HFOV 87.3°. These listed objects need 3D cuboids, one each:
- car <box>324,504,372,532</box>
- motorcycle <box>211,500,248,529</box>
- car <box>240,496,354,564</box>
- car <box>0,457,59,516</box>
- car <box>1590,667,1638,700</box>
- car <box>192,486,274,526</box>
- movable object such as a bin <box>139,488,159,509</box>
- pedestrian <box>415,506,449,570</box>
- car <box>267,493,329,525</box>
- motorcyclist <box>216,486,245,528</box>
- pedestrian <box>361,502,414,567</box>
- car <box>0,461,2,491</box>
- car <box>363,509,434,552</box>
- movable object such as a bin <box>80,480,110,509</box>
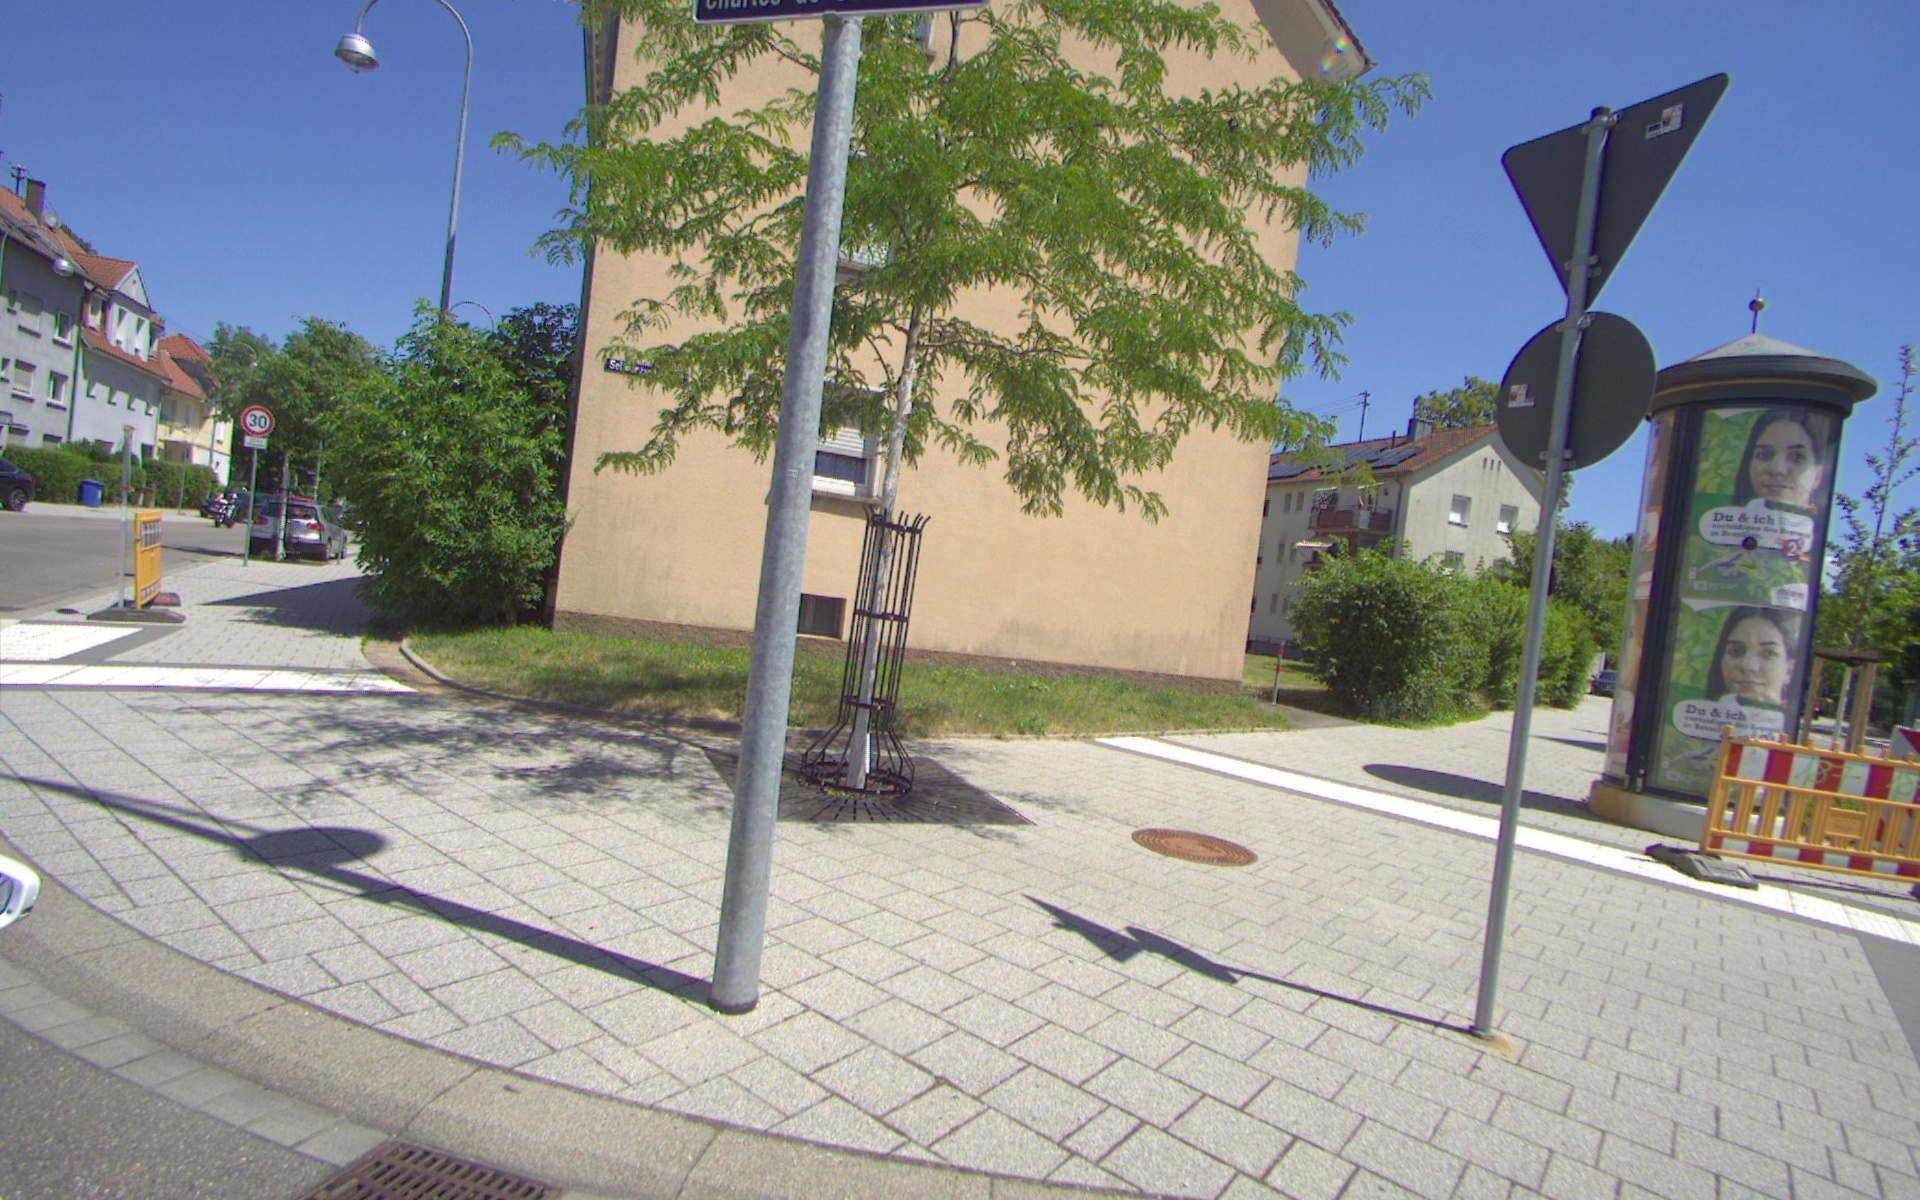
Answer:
[{"bbox_3d":[-36.473,-4.859,60.029,1.712,1.431,3.976,5,2,-22],"label":"car"},{"bbox_3d":[-29.156,-3.397,40.178,0.599,1.013,1.791,6,1,-18],"label":"motorcycle"},{"bbox_3d":[-17.866,-1.861,27.312,1.795,1.496,4.479,5,1,-24],"label":"car"},{"bbox_3d":[-29.493,-3.535,29.551,2.058,1.635,5.094,8,1,-11],"label":"car"},{"bbox_3d":[35.975,4.575,55.416,1.967,1.479,3.990,7,1,31],"label":"car"},{"bbox_3d":[-35.222,-4.538,48.880,1.768,1.477,4.180,10,1,-16],"label":"car"},{"bbox_3d":[-37.991,-4.752,47.124,0.489,0.924,0.702,6,2,-21],"label":"movable object such as a bin"},{"bbox_3d":[-16.130,-1.891,30.759,0.779,1.836,0.999,4,3,-24],"label":"pedestrian"},{"bbox_3d":[-39.640,-5.424,60.357,1.859,1.497,4.713,10,0,-20],"label":"car"},{"bbox_3d":[-29.110,-3.695,40.163,0.594,1.544,0.891,6,2,-19],"label":"motorcyclist"},{"bbox_3d":[-16.594,-1.884,29.191,1.159,1.756,1.184,3,3,-25],"label":"pedestrian"},{"bbox_3d":[-24.051,-2.709,22.612,1.774,1.508,4.373,6,1,-17],"label":"car"},{"bbox_3d":[-23.762,-2.953,42.755,1.813,1.524,5.036,5,2,-21],"label":"car"},{"bbox_3d":[-35.020,-4.272,40.733,0.665,1.062,0.648,6,3,-21],"label":"movable object such as a bin"}]
